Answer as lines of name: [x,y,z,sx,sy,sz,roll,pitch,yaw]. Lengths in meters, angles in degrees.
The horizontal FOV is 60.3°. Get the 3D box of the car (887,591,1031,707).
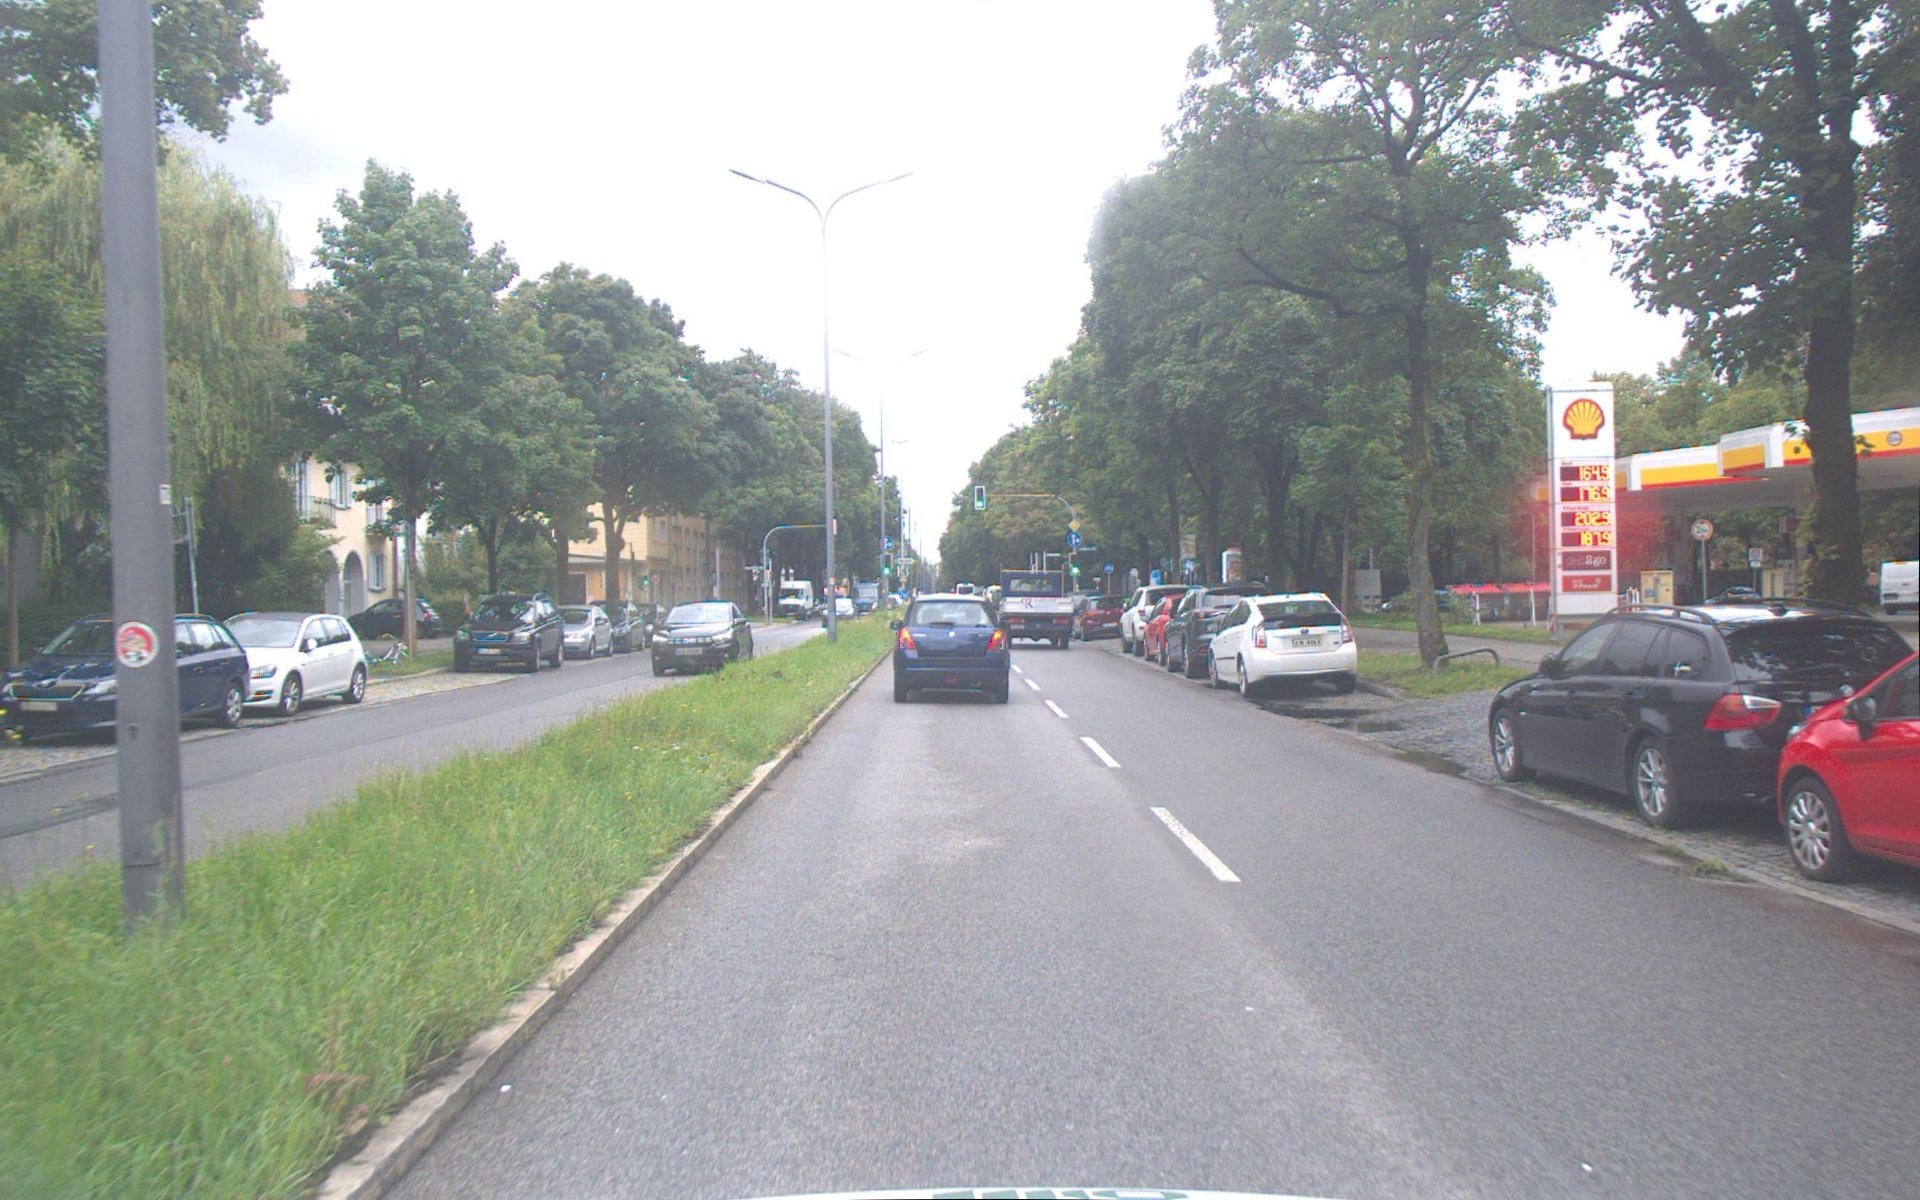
car: [-0.093,0.661,24.563,1.859,1.525,3.657,-2,0,-4]

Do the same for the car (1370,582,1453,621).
car: [23.361,0.077,85.726,3.799,1.638,1.934,-5,0,6]

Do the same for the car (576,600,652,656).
car: [-10.637,0.831,51.086,1.633,1.589,4.297,-1,0,-3]

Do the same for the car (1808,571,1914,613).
car: [42.859,-0.382,78.744,3.946,1.638,1.770,-5,0,6]

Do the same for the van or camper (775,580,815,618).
van or camper: [-11.341,-0.084,113.973,2.096,2.519,6.258,-2,0,0]

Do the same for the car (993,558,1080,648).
car: [2.174,0.064,48.447,2.369,2.487,5.087,0,0,1]

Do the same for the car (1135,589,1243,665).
car: [5.086,0.564,37.199,1.725,1.533,4.143,-3,0,-1]

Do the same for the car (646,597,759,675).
car: [-5.318,0.710,34.628,1.703,1.465,4.214,-2,0,0]

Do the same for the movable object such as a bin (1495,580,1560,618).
movable object such as a bin: [23.335,-0.042,68.014,2.019,1.512,1.837,-1,0,-1]

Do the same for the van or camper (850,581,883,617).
van or camper: [-6.151,-0.085,109.561,1.982,2.300,6.020,-2,0,-2]

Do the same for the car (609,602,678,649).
car: [-10.792,0.835,56.638,1.532,1.475,3.838,2,0,1]

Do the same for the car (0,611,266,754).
car: [-10.395,0.941,20.668,1.640,1.501,4.214,2,0,-1]

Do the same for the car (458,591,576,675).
car: [-10.434,0.720,39.273,1.761,1.794,5.053,2,0,-5]

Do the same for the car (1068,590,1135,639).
car: [4.763,0.460,56.189,1.678,1.449,4.281,-5,0,-2]

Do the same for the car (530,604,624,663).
car: [-10.603,0.883,46.058,1.632,1.470,4.374,2,0,-1]

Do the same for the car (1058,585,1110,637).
car: [4.531,0.379,60.959,1.726,1.686,4.285,-5,0,3]

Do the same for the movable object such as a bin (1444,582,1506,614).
movable object such as a bin: [21.151,-0.084,67.978,2.018,1.285,1.531,-1,0,-1]

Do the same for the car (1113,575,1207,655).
car: [5.044,0.351,42.248,1.725,1.862,4.527,-3,0,-1]

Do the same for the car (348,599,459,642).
car: [-20.629,0.736,61.391,3.560,1.487,1.671,-1,0,-3]

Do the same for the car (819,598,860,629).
car: [-6.131,0.653,84.515,1.701,1.467,4.103,-2,0,1]

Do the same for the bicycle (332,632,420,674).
bicycle: [-12.702,1.141,36.011,1.422,0.843,1.404,1,0,-1]

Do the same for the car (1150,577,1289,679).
car: [4.937,0.491,32.139,1.725,1.728,5.229,-3,0,-1]

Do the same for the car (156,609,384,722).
car: [-10.402,0.931,25.297,1.640,1.468,4.319,2,0,0]

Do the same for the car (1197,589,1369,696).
car: [5.073,0.611,26.578,1.725,1.479,4.632,-3,0,-1]

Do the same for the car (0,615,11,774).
car: [-10.360,0.936,15.109,1.657,1.593,3.078,2,0,-3]

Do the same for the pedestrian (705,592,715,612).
pedestrian: [-18.217,0.143,120.689,0.616,1.465,0.806,1,0,-1]

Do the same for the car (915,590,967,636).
car: [-0.686,0.443,59.246,1.762,1.525,3.660,-1,0,-1]

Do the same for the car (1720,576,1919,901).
car: [5.434,0.654,7.912,1.641,1.527,4.020,-3,0,-1]

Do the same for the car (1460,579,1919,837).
car: [5.306,0.642,12.334,1.641,1.479,4.581,-3,0,-1]
